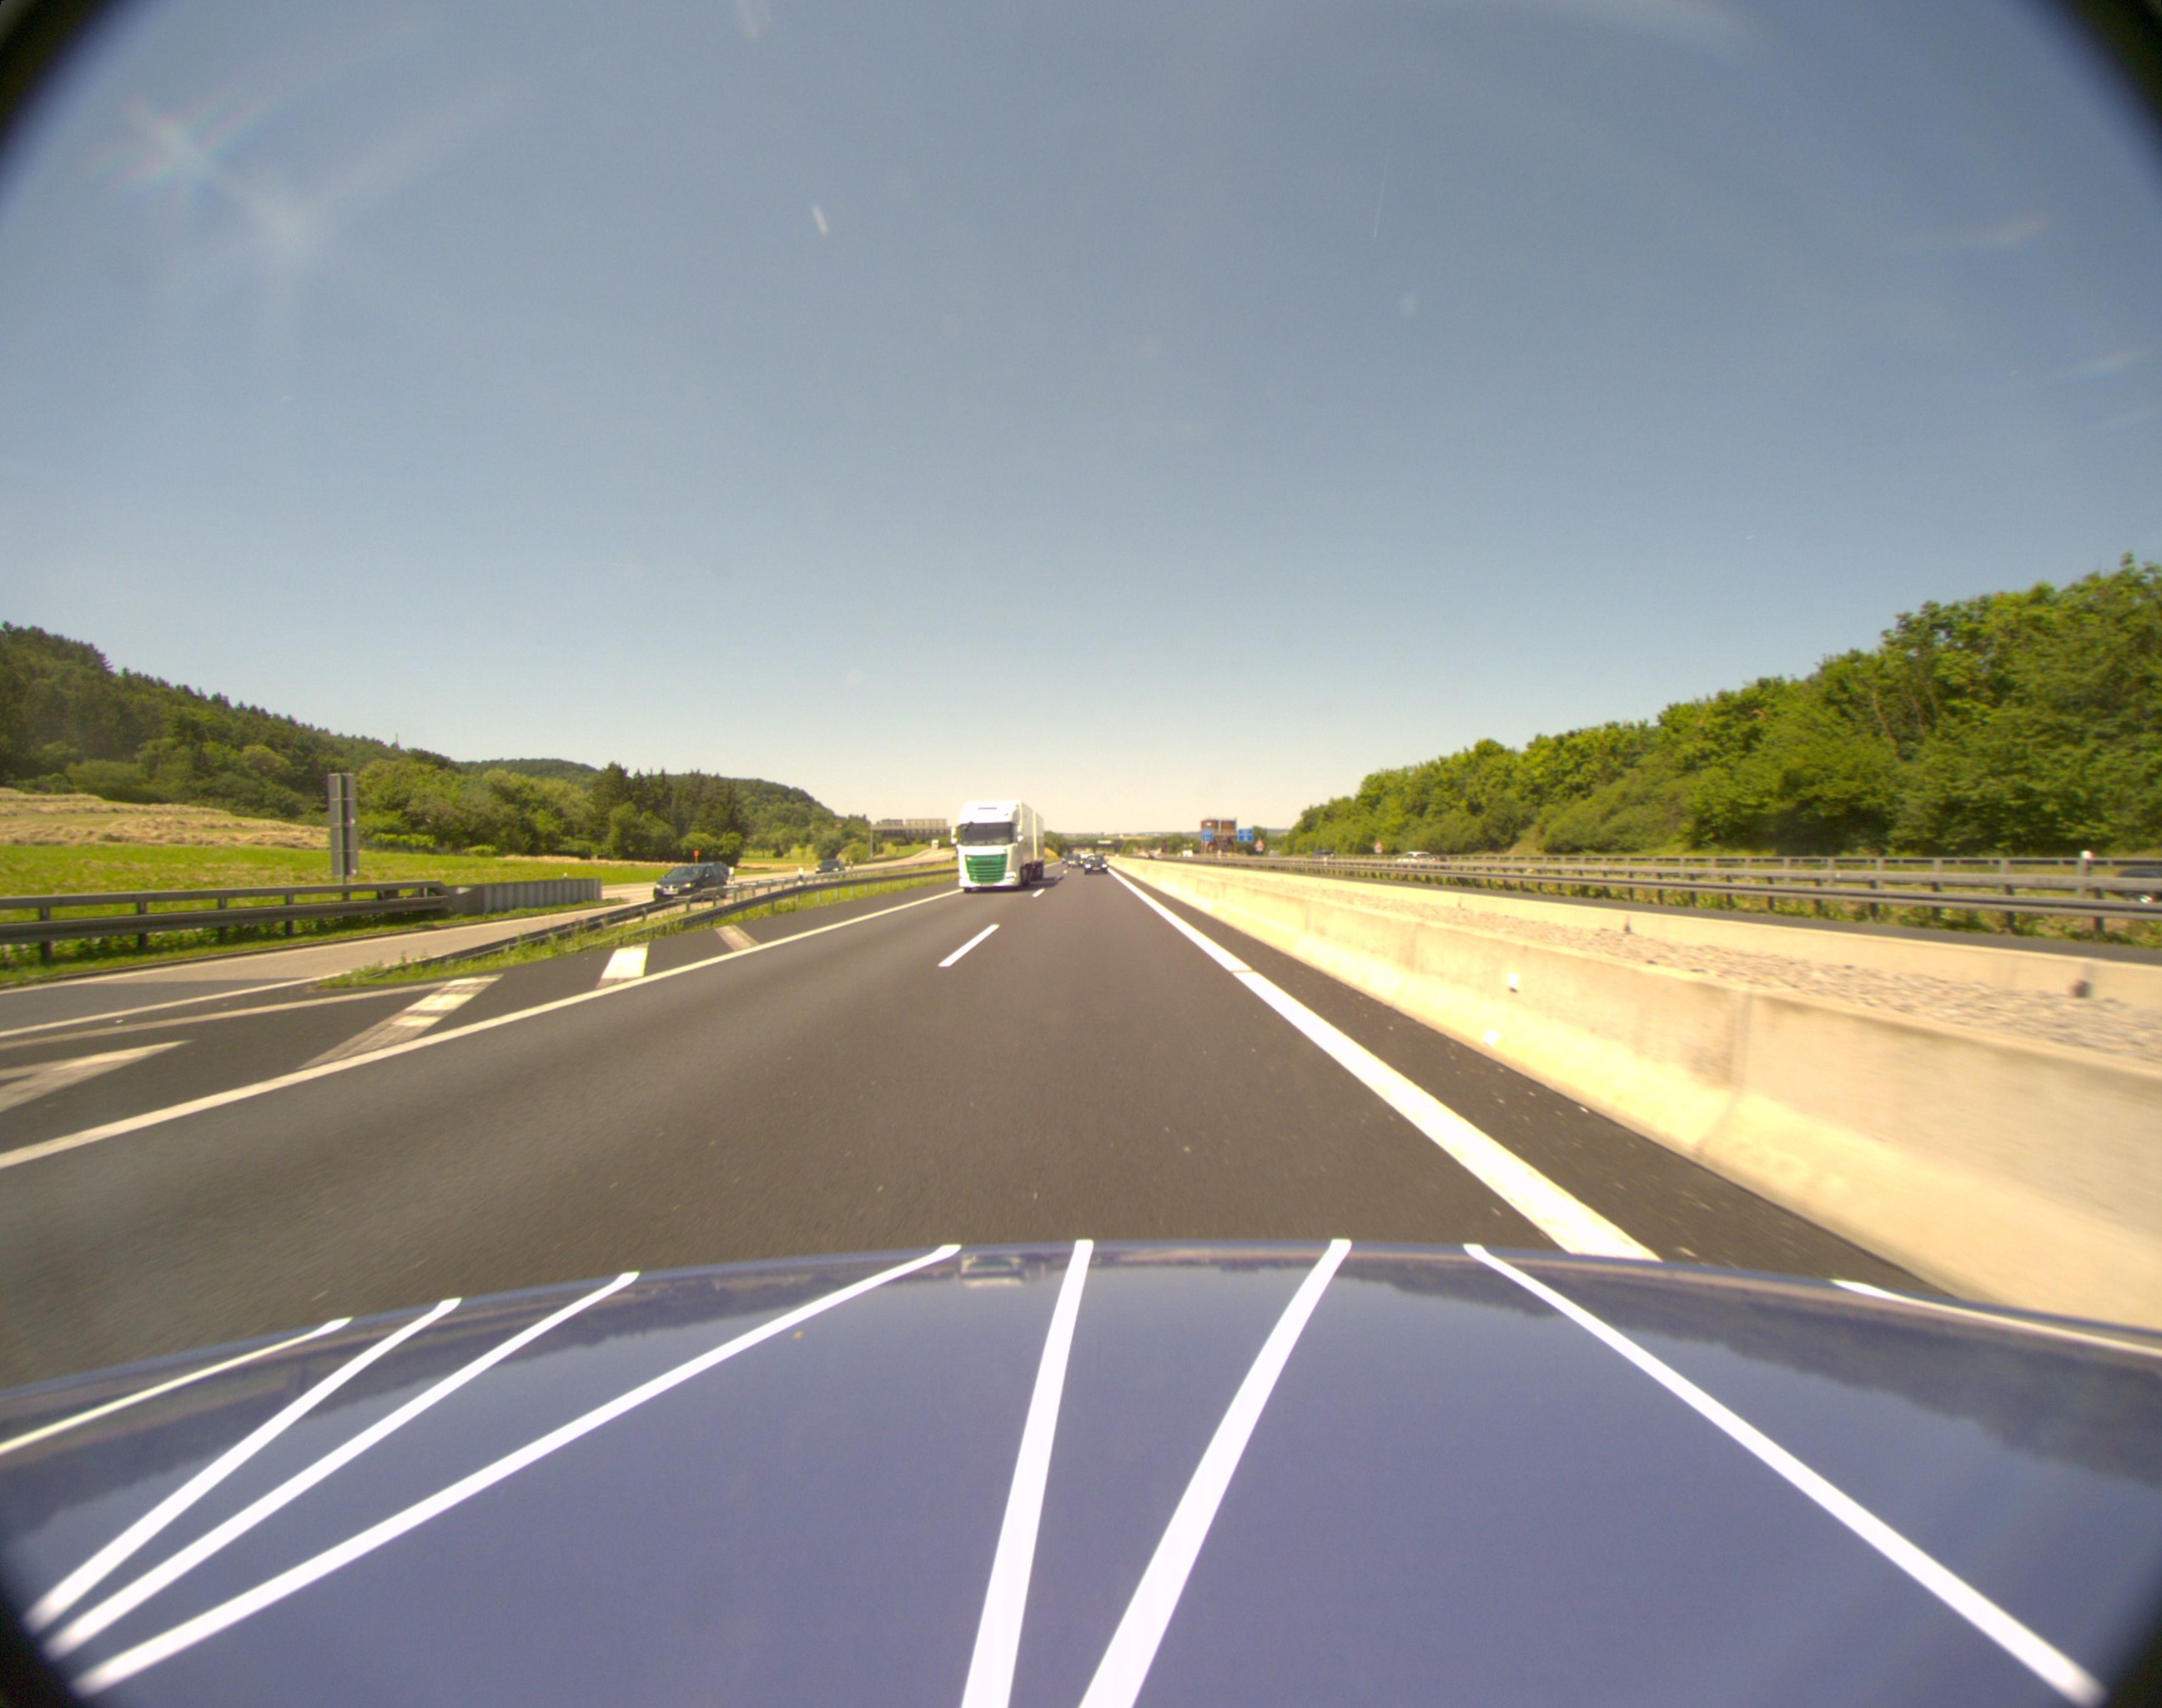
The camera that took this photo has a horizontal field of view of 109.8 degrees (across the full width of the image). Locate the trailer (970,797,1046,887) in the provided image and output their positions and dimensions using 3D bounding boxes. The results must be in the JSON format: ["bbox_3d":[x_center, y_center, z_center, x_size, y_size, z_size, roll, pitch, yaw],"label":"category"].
[{"bbox_3d":[-3.777,-0.638,43.429,2.663,4.164,14.893,-2,1,0],"label":"trailer"}]

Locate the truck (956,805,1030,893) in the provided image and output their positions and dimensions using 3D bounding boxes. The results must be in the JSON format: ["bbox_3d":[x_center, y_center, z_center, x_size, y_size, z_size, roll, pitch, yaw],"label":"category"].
[{"bbox_3d":[-3.792,-0.236,33.783,2.649,3.572,4.403,-2,1,0],"label":"truck"}]

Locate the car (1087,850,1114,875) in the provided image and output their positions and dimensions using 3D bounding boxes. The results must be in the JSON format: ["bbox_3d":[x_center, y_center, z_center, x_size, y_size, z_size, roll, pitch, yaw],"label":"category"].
[{"bbox_3d":[1.359,0.592,53.974,1.799,1.574,3.999,-2,1,0],"label":"car"}]

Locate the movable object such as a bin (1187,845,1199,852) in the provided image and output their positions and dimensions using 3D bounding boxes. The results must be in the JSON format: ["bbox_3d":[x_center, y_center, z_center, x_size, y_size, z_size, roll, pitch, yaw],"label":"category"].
[{"bbox_3d":[32.476,-1.551,220.098,2.513,2.002,6.778,-2,1,0],"label":"movable object such as a bin"}]

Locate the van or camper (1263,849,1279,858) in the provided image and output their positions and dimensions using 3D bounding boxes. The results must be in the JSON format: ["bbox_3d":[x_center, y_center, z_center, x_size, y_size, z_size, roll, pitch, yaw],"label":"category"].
[{"bbox_3d":[36.969,-0.139,147.954,1.998,1.788,5.528,-1,0,2],"label":"van or camper"}]

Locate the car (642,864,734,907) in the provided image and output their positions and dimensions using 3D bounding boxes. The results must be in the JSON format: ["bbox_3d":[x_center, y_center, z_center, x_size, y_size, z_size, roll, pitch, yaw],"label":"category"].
[{"bbox_3d":[-15.191,1.172,29.576,1.782,1.392,3.759,-3,1,-4],"label":"car"}]

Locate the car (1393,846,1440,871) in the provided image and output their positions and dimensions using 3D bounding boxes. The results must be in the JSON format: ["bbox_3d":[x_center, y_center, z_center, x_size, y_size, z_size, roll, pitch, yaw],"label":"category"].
[{"bbox_3d":[28.715,0.355,65.250,1.951,2.002,4.763,-2,1,1],"label":"car"}]

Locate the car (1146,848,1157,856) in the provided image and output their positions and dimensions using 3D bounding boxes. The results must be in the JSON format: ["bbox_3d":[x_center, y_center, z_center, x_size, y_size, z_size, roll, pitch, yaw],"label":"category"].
[{"bbox_3d":[14.299,-0.368,154.640,1.839,1.525,4.158,-1,1,-2],"label":"car"}]

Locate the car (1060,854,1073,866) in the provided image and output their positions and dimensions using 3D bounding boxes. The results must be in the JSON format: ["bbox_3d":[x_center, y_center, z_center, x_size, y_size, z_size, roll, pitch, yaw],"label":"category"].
[{"bbox_3d":[-2.305,0.984,124.778,1.998,2.002,4.000,0,0,1],"label":"car"}]

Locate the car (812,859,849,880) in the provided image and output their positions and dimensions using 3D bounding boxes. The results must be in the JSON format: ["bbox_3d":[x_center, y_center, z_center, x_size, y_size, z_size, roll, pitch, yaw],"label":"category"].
[{"bbox_3d":[-19.398,1.164,58.951,1.892,1.464,3.864,-3,1,-7],"label":"car"}]

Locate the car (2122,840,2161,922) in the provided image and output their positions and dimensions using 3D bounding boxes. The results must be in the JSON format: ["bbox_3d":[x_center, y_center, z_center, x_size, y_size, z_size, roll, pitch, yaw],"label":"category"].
[{"bbox_3d":[28.063,0.678,17.744,1.998,2.002,3.999,-2,1,0],"label":"car"}]

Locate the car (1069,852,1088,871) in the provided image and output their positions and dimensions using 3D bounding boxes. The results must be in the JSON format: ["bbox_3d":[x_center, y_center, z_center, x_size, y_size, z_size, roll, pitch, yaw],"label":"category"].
[{"bbox_3d":[-0.278,0.846,85.990,1.998,2.002,3.999,-2,1,1],"label":"car"}]

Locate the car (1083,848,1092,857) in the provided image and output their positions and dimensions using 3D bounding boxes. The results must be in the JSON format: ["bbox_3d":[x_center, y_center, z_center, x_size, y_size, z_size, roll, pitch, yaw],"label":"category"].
[{"bbox_3d":[1.604,-0.378,183.130,1.998,2.002,4.000,0,0,1],"label":"car"}]

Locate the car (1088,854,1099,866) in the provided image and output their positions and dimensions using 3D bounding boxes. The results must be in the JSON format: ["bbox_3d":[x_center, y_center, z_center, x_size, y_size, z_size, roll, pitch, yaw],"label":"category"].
[{"bbox_3d":[2.421,1.117,143.587,1.998,2.237,4.000,0,1,1],"label":"car"}]

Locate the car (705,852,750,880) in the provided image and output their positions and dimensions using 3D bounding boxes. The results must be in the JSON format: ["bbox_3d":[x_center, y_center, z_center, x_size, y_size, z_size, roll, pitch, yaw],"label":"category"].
[{"bbox_3d":[-25.982,0.859,55.979,2.000,2.002,3.996,-1,0,-9],"label":"car"}]
